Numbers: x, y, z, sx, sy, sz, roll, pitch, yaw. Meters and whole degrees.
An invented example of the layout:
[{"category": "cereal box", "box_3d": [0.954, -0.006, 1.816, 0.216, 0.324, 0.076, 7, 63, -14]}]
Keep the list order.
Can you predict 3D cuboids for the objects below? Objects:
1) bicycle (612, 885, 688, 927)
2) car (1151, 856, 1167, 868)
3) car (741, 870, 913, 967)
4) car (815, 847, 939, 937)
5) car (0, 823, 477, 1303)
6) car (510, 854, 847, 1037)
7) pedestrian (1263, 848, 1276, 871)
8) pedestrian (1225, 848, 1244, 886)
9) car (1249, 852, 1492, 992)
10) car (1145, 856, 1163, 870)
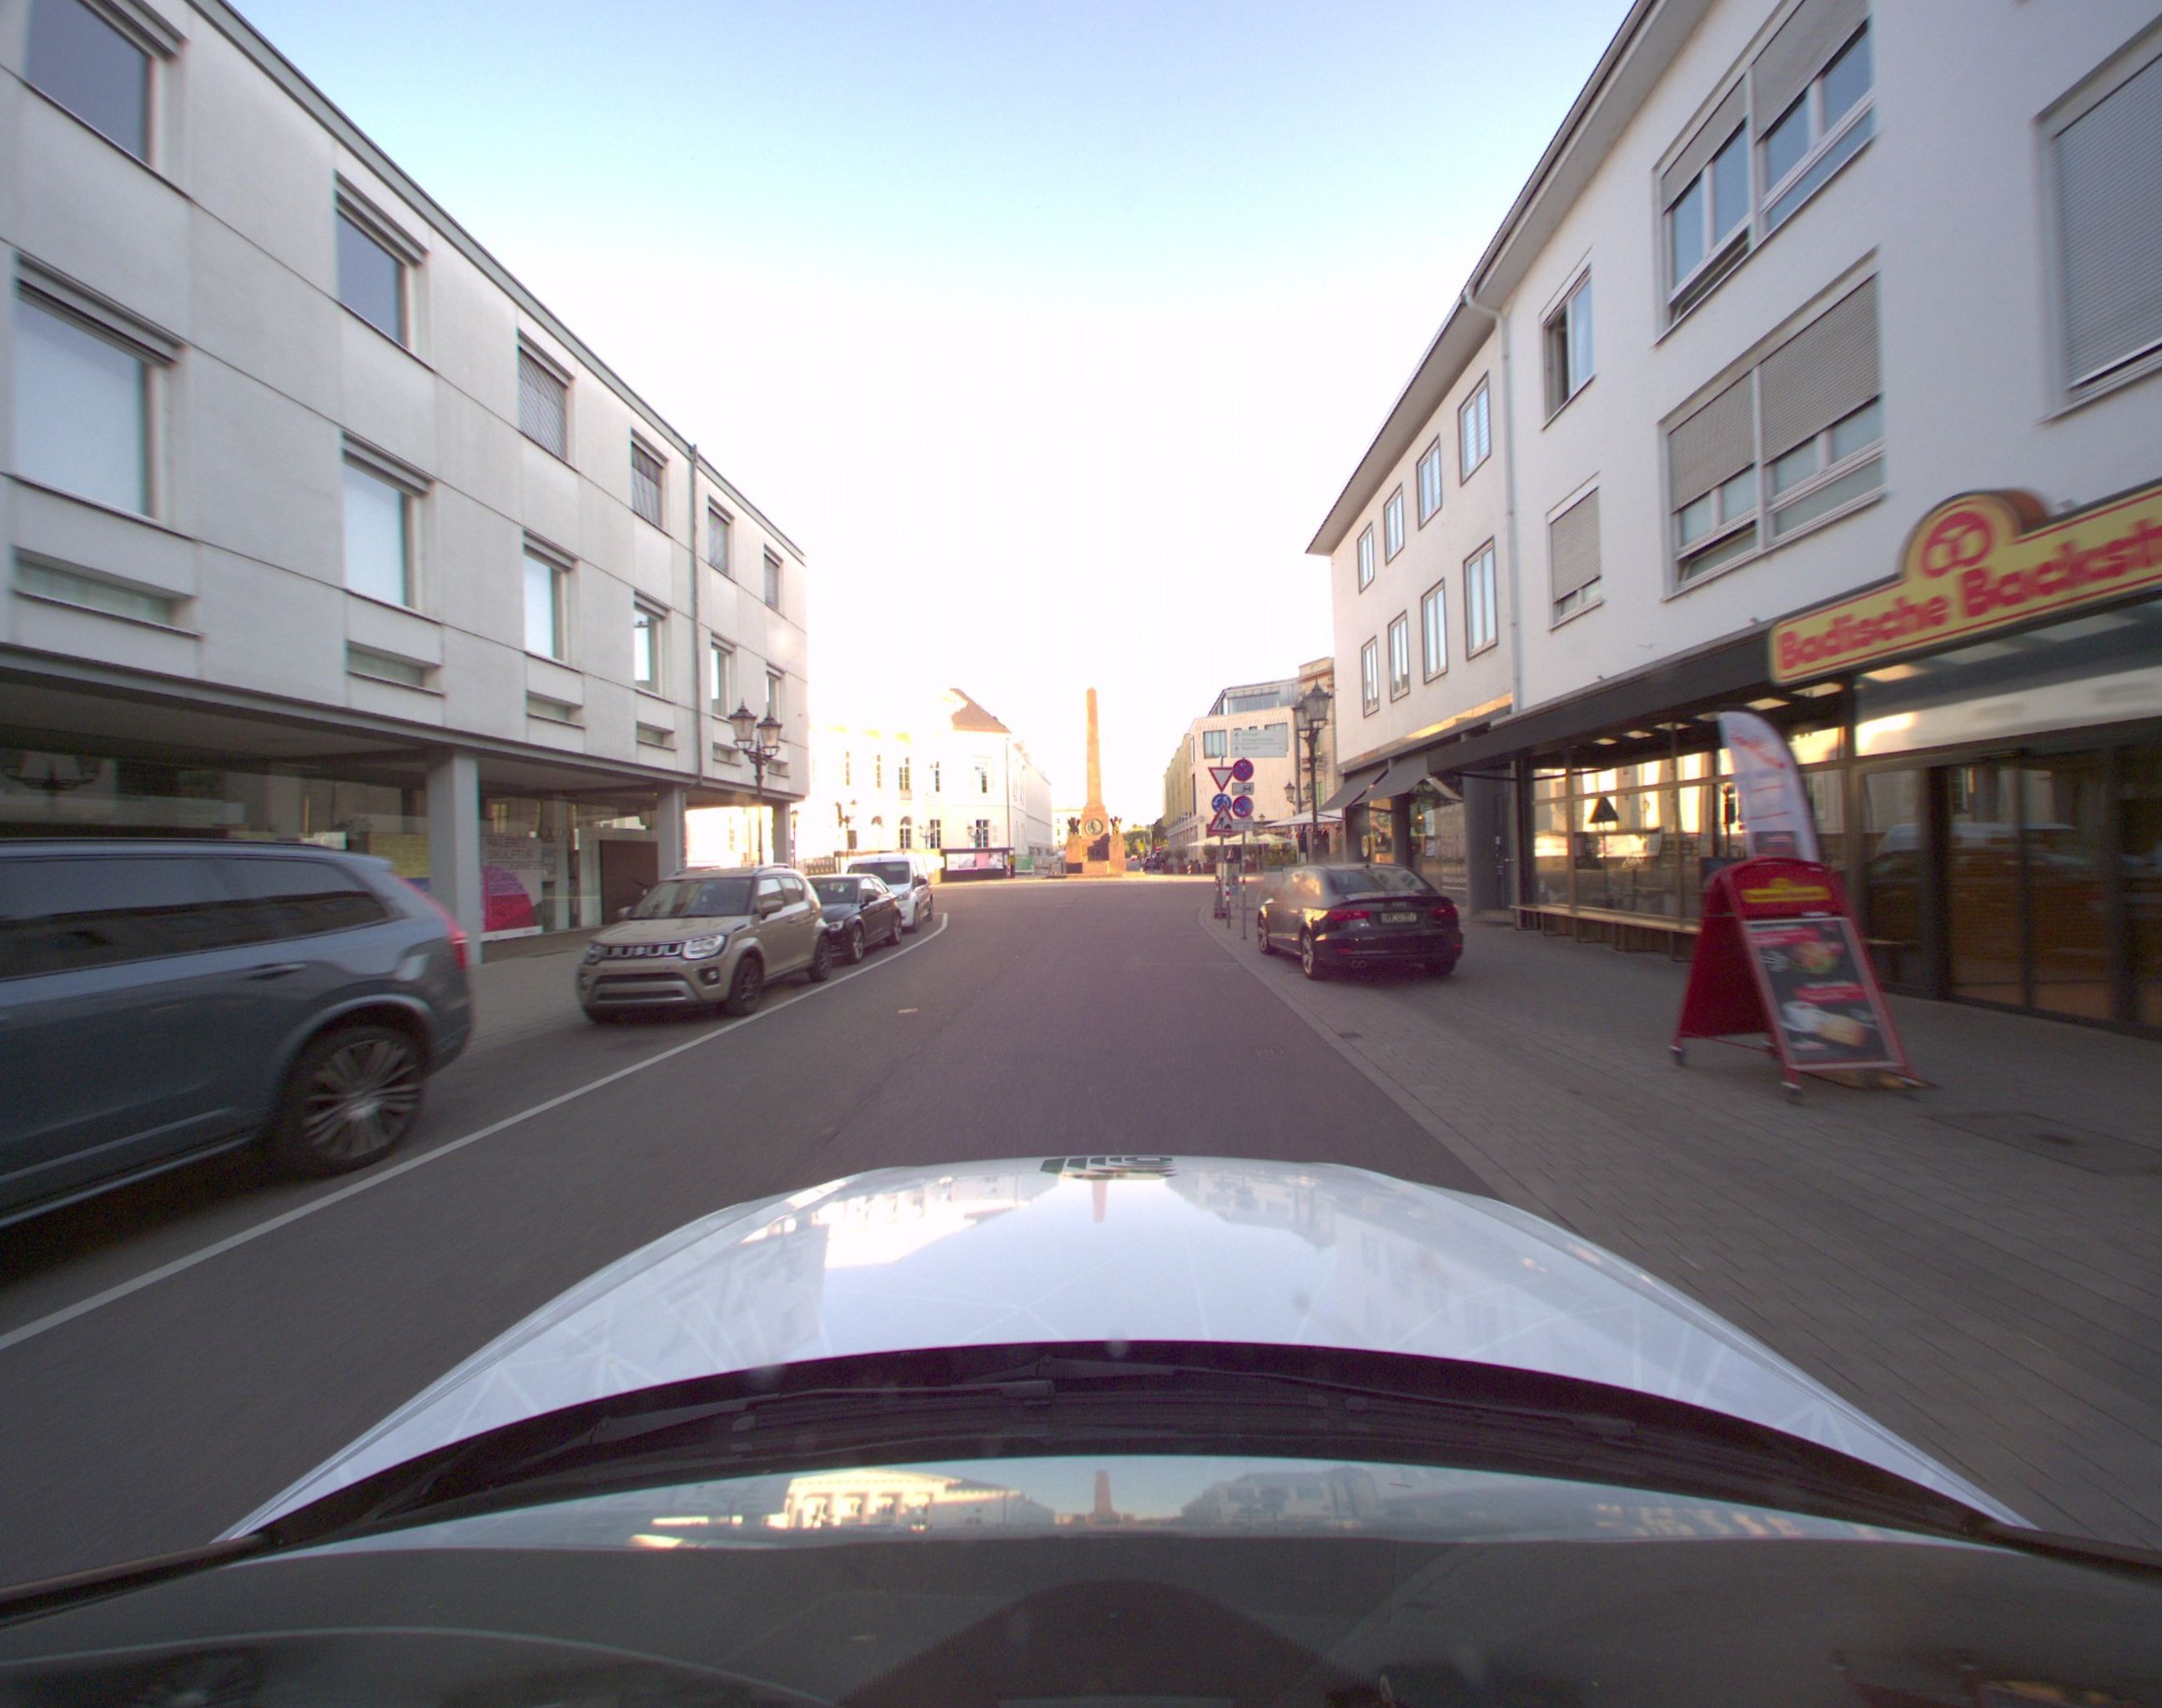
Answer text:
[{"category": "bicycle", "box_3d": [-11.584, 1.368, 21.998, 0.730, 0.983, 2.336, -1, 0, 2]}, {"category": "car", "box_3d": [9.647, 0.992, 100.906, 1.984, 1.464, 4.005, -2, 0, 4]}, {"category": "car", "box_3d": [-4.254, 1.014, 14.325, 1.672, 1.353, 4.105, -1, 0, 0]}, {"category": "car", "box_3d": [-4.663, 0.802, 19.352, 1.990, 1.816, 4.777, -1, 0, -4]}, {"category": "car", "box_3d": [-4.924, 0.801, 2.854, 1.985, 1.728, 4.520, -3, 0, 3]}, {"category": "car", "box_3d": [-4.429, 0.875, 9.801, 1.987, 1.662, 3.999, -3, 0, 0]}, {"category": "pedestrian", "box_3d": [14.598, 0.438, 62.961, 0.899, 1.728, 0.852, -2, 0, 11]}, {"category": "pedestrian", "box_3d": [6.775, 0.570, 36.009, 0.687, 1.647, 0.696, -2, 0, 2]}, {"category": "car", "box_3d": [3.616, 0.754, 11.021, 1.796, 1.464, 4.117, -2, 0, 0]}, {"category": "car", "box_3d": [8.249, 1.037, 92.468, 1.984, 1.464, 4.005, -2, 0, 4]}]
